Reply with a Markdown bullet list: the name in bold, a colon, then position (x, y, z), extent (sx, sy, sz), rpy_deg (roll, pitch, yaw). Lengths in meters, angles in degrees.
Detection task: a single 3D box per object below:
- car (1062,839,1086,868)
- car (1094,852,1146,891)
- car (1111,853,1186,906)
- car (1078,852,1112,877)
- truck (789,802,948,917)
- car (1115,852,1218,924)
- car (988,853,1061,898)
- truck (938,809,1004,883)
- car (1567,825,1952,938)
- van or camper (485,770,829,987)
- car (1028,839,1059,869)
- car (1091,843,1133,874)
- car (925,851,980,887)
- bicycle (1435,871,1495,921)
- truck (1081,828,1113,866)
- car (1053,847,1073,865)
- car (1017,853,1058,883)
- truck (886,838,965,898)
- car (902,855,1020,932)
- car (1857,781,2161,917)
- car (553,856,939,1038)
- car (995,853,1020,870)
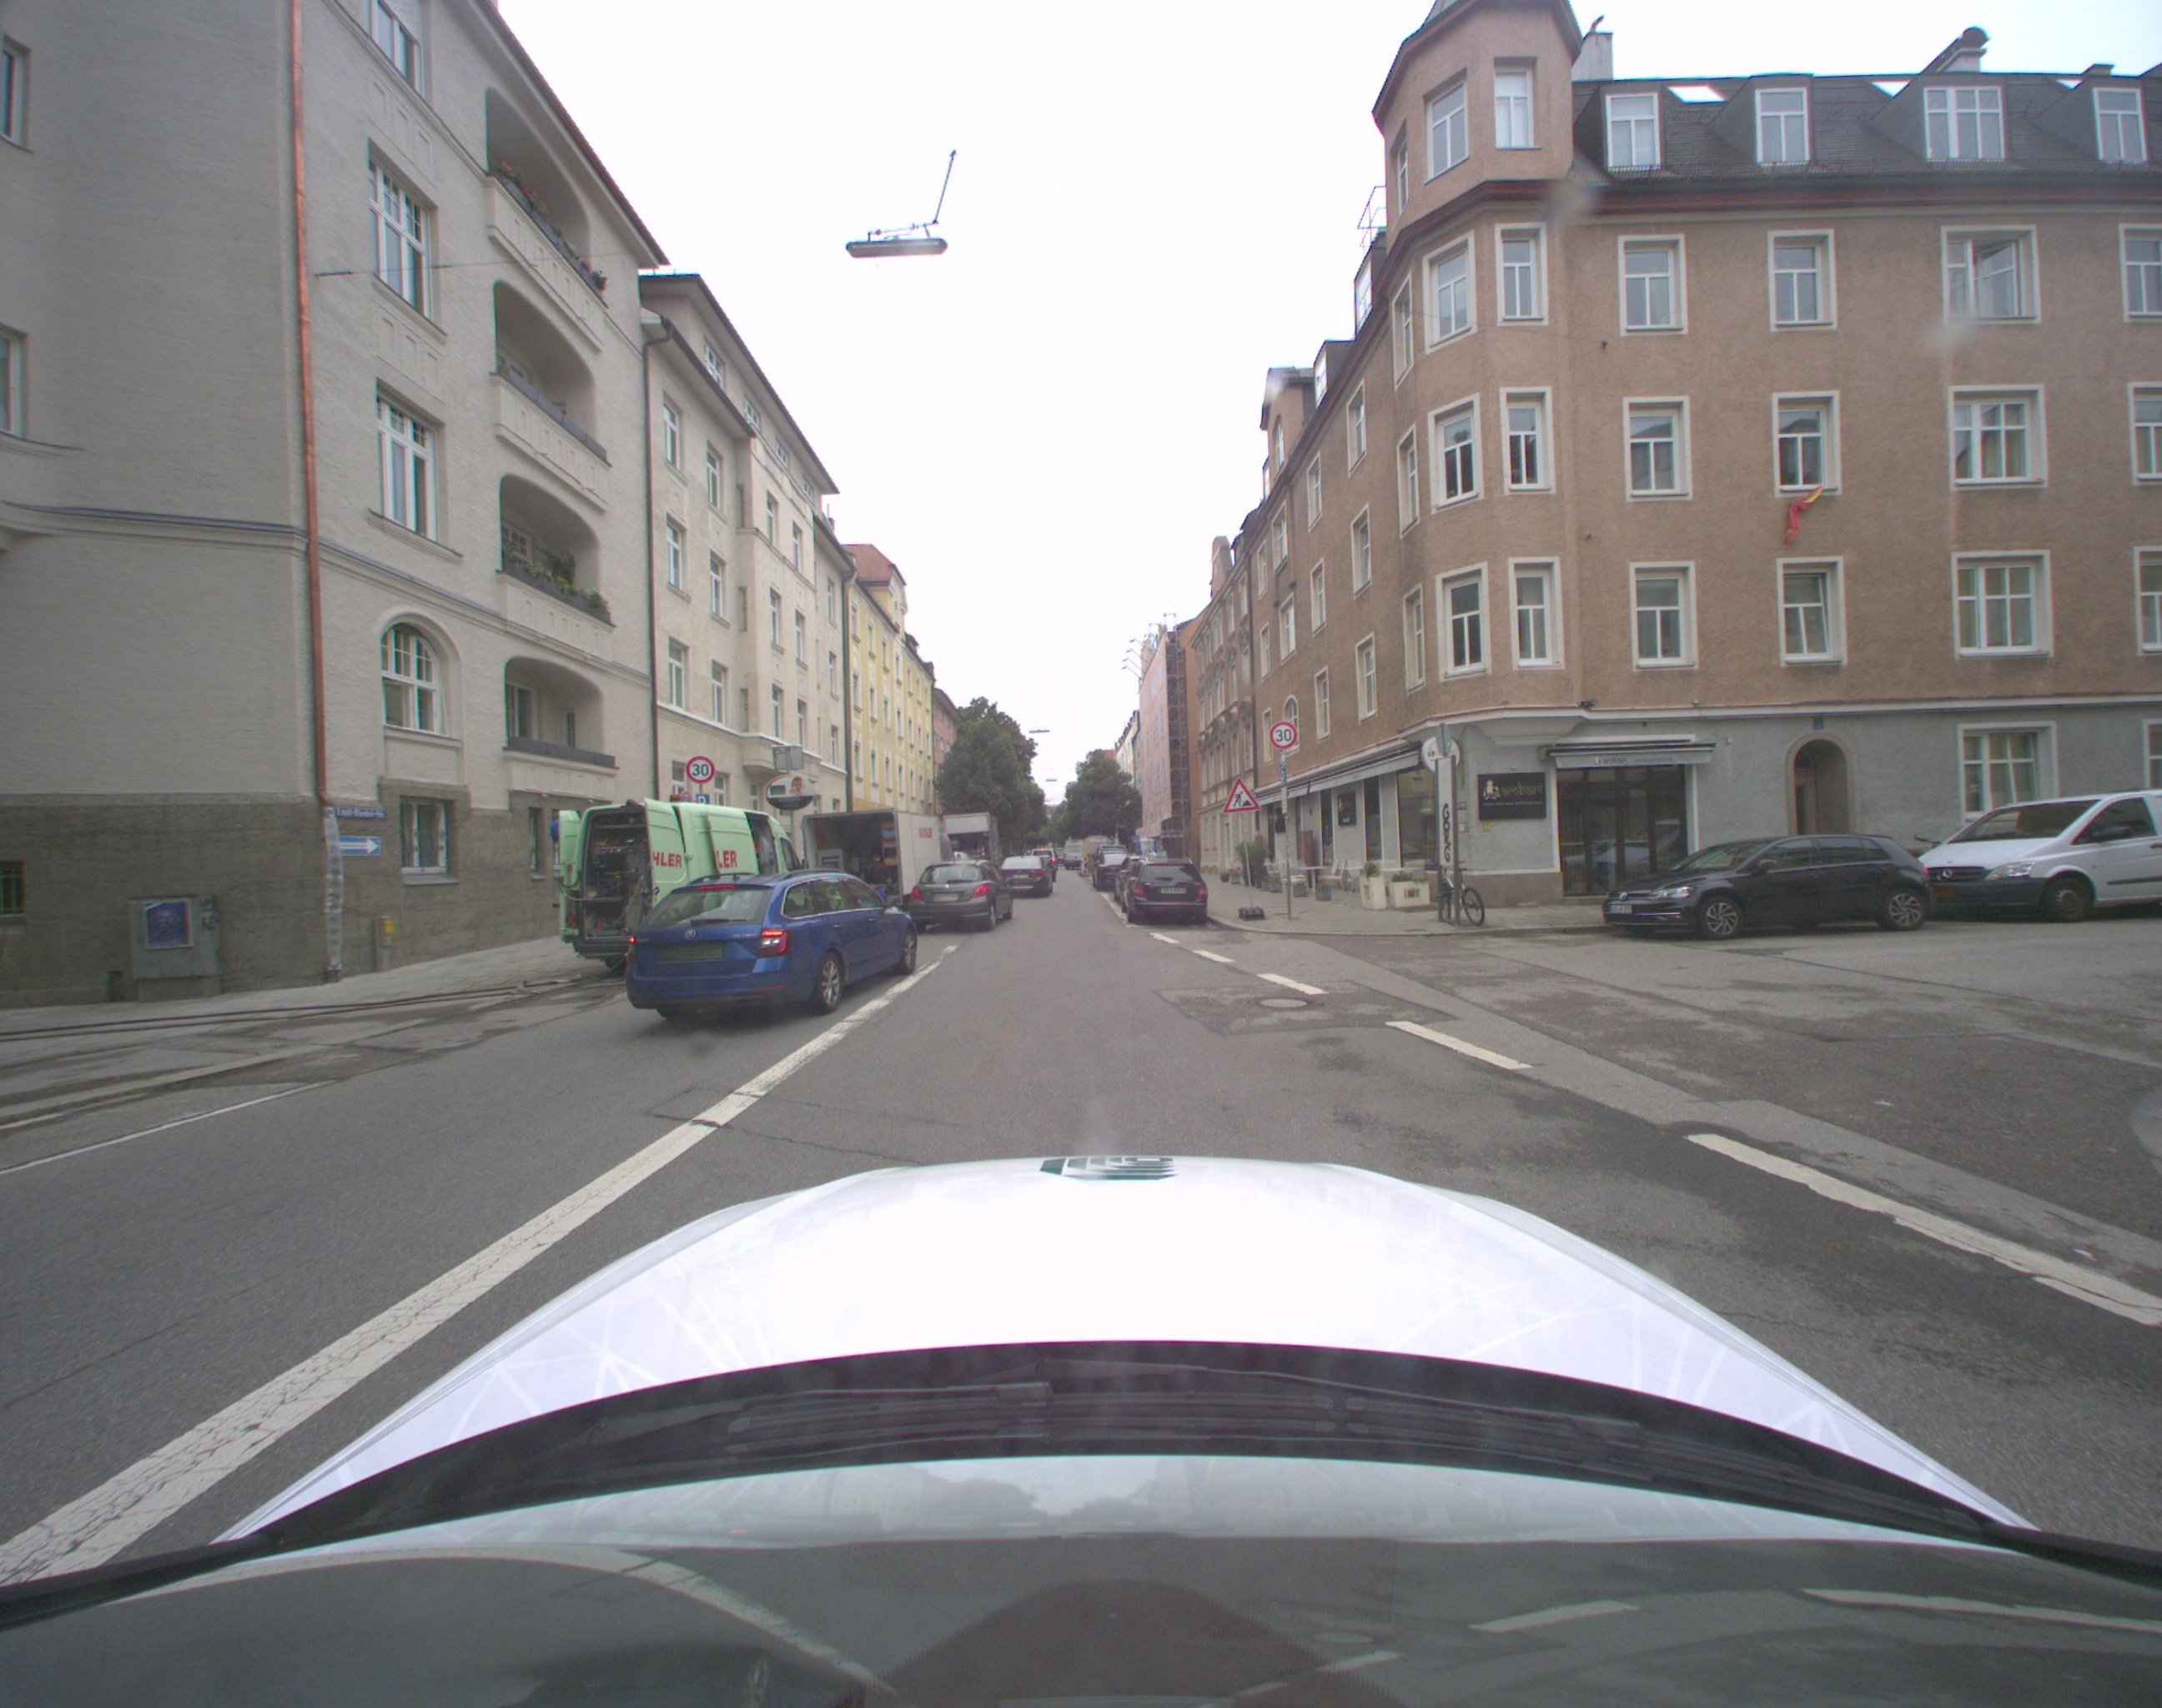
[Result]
- **car**: position (-0.591, -0.057, 74.478), extent (1.932, 2.480, 4.784), rpy_deg (-1, 0, 1)
- **car**: position (1.542, 0.671, 33.557), extent (1.839, 1.429, 4.304), rpy_deg (1, 1, -2)
- **car**: position (1.981, 0.710, 25.007), extent (1.839, 1.429, 4.138), rpy_deg (1, 1, -2)
- **car**: position (0.868, 0.621, 51.343), extent (1.984, 1.429, 4.140), rpy_deg (-2, 1, 0)
- **truck**: position (-6.045, 0.082, 24.566), extent (2.764, 2.873, 7.201), rpy_deg (-2, 1, 0)
- **car**: position (1.872, 0.706, 19.083), extent (1.839, 1.429, 4.181), rpy_deg (1, 1, -2)
- **car**: position (-1.948, 0.706, 29.532), extent (1.981, 1.429, 4.911), rpy_deg (0, 1, 3)
- **truck**: position (-6.328, -0.453, 47.718), extent (3.004, 3.951, 6.990), rpy_deg (-1, 0, -2)
- **car**: position (9.997, 0.411, 12.269), extent (4.156, 1.429, 1.924), rpy_deg (-2, -2, -1)
- **van or camper**: position (-6.694, 0.286, 14.126), extent (2.592, 2.840, 6.186), rpy_deg (-2, 1, 0)
- **car**: position (-2.746, -0.010, 60.495), extent (1.984, 2.075, 4.140), rpy_deg (-2, 1, 0)
- **car**: position (1.520, 0.178, 41.578), extent (1.984, 1.429, 4.140), rpy_deg (-2, 1, 0)
- **car**: position (-6.245, 0.714, 40.055), extent (1.983, 1.610, 4.140), rpy_deg (-1, 0, 0)
- **bicycle**: position (6.786, 0.728, 14.439), extent (0.455, 0.805, 1.327), rpy_deg (-1, 0, 2)
- **truck**: position (1.275, -0.578, 67.469), extent (2.484, 2.973, 5.325), rpy_deg (-1, 0, -1)
- **car**: position (-1.987, 0.223, 91.262), extent (1.986, 1.904, 4.002), rpy_deg (-1, 0, 2)
- **car**: position (-2.360, 0.737, 45.169), extent (1.984, 1.429, 4.140), rpy_deg (-2, 1, 0)
- **truck**: position (-6.118, 0.513, 32.681), extent (2.280, 2.171, 4.804), rpy_deg (-1, 0, -1)
- **car**: position (-2.524, 0.780, 18.133), extent (1.751, 1.461, 4.078), rpy_deg (-2, 0, 3)
- **car**: position (15.643, -0.094, 12.651), extent (5.111, 1.854, 2.099), rpy_deg (-2, -2, -1)
- **car**: position (-3.270, 0.820, 9.252), extent (1.977, 1.454, 4.742), rpy_deg (-3, -1, 6)
- **car**: position (-6.664, 0.675, 74.148), extent (1.934, 1.448, 3.864), rpy_deg (-1, 0, -1)
